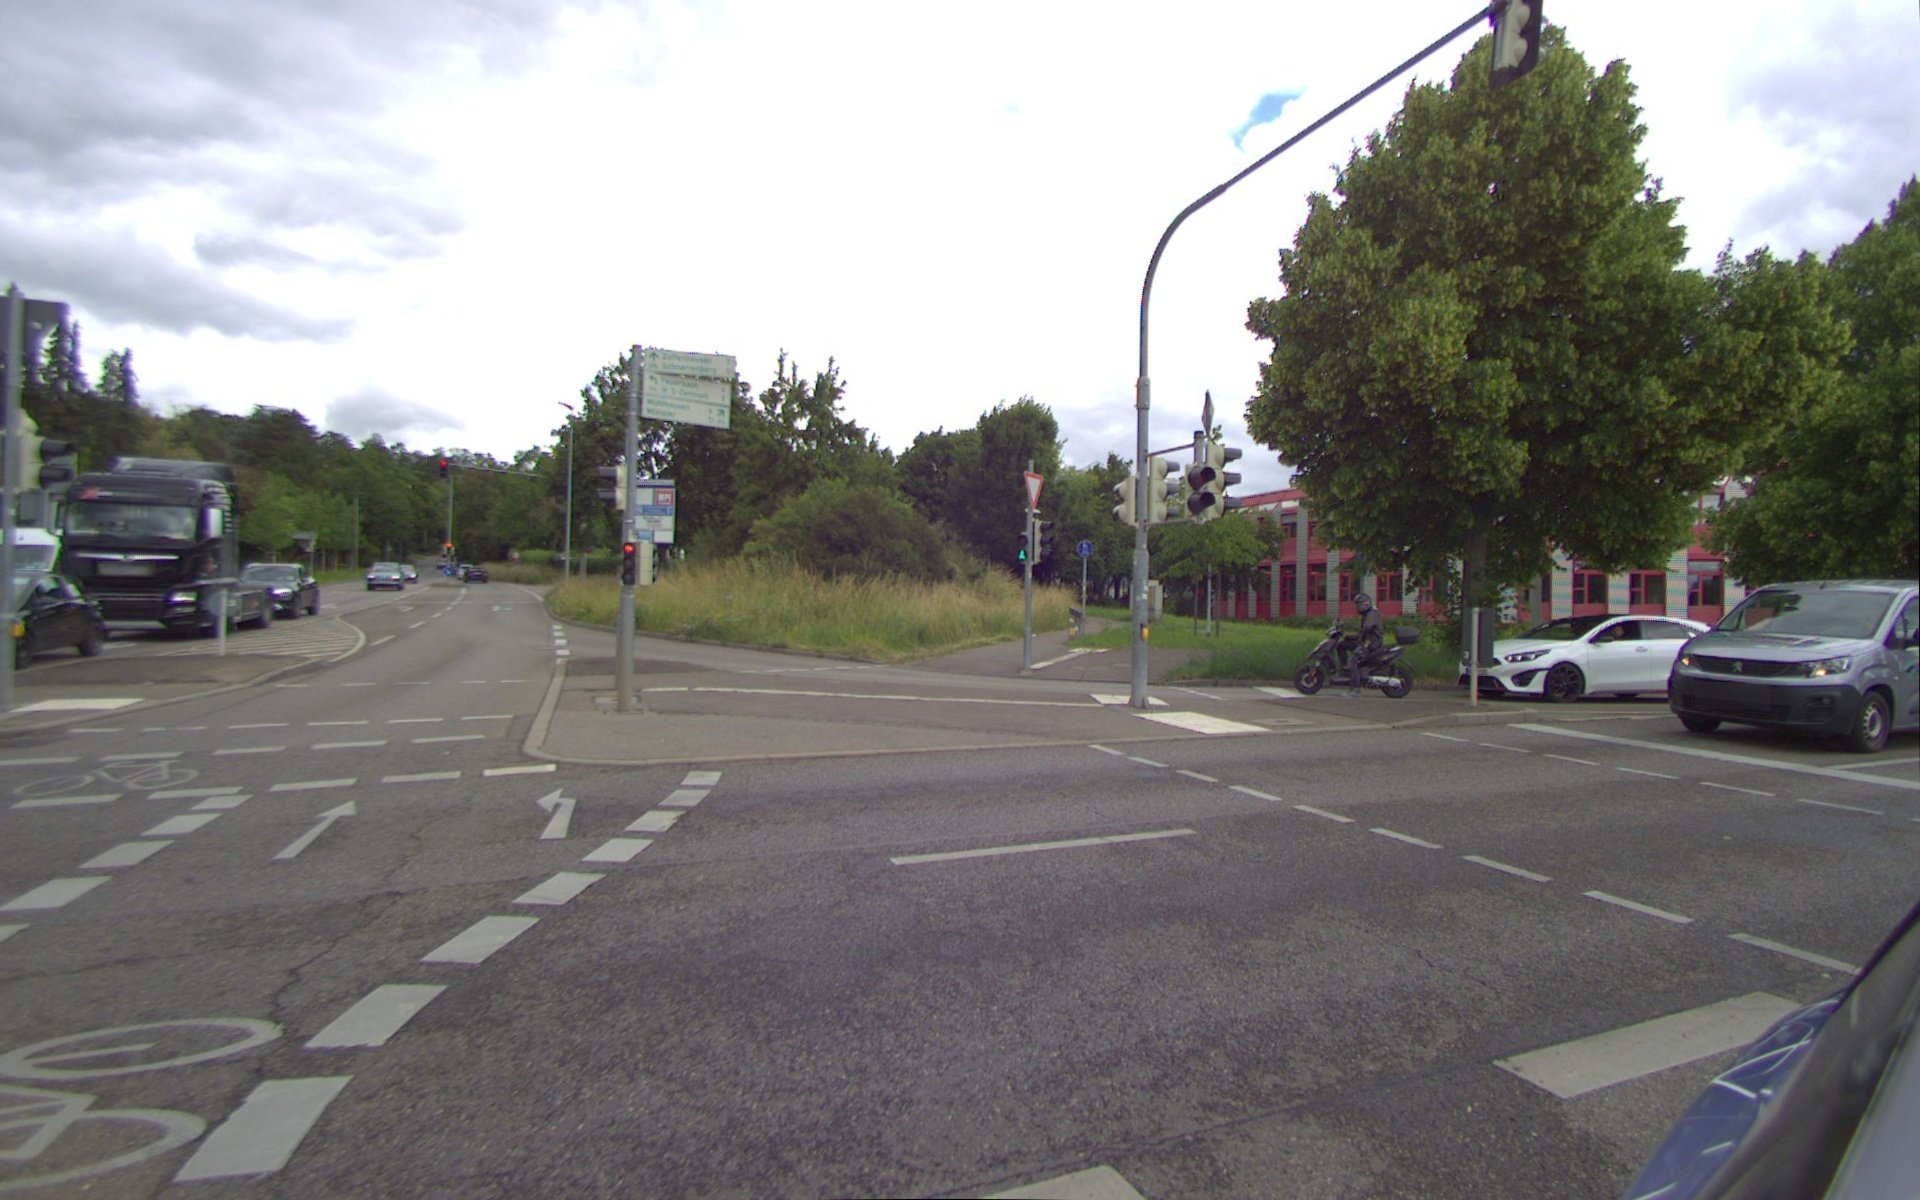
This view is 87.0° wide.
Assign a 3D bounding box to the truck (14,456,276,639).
[{"bbox_3d":[-18.116,-1.107,23.035,3.010,3.561,5.973,0,1,-22],"label":"truck"}]

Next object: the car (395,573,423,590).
[{"bbox_3d":[-44.320,-1.499,81.481,1.602,1.310,3.874,1,1,-23],"label":"car"}]

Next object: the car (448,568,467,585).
[{"bbox_3d":[-49.651,-2.354,99.986,1.602,1.639,3.873,1,1,-26],"label":"car"}]

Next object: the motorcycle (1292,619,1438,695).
[{"bbox_3d":[6.456,0.893,16.221,2.037,1.104,0.757,1,-1,12],"label":"motorcycle"}]

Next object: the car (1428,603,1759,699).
[{"bbox_3d":[10.205,0.789,16.460,4.421,1.438,1.838,0,-1,-9],"label":"car"}]

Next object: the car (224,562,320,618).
[{"bbox_3d":[-20.862,-0.326,30.839,1.715,1.595,3.874,1,1,-23],"label":"car"}]

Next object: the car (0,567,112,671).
[{"bbox_3d":[-15.012,0.224,15.738,1.602,1.460,3.875,1,1,-21],"label":"car"}]

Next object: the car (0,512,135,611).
[{"bbox_3d":[-28.007,-1.159,31.077,2.181,2.754,6.701,0,1,-21],"label":"car"}]

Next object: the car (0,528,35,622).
[{"bbox_3d":[-25.170,-0.608,24.356,2.181,2.415,5.974,0,1,-20],"label":"car"}]

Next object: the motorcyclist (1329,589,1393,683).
[{"bbox_3d":[6.421,0.561,16.235,0.804,1.439,0.757,1,-1,11],"label":"motorcyclist"}]

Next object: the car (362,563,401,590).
[{"bbox_3d":[-35.197,-1.449,61.645,1.602,1.595,3.874,1,1,-23],"label":"car"}]

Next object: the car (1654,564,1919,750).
[{"bbox_3d":[10.110,0.550,11.476,4.134,1.802,1.818,1,1,-25],"label":"car"}]
